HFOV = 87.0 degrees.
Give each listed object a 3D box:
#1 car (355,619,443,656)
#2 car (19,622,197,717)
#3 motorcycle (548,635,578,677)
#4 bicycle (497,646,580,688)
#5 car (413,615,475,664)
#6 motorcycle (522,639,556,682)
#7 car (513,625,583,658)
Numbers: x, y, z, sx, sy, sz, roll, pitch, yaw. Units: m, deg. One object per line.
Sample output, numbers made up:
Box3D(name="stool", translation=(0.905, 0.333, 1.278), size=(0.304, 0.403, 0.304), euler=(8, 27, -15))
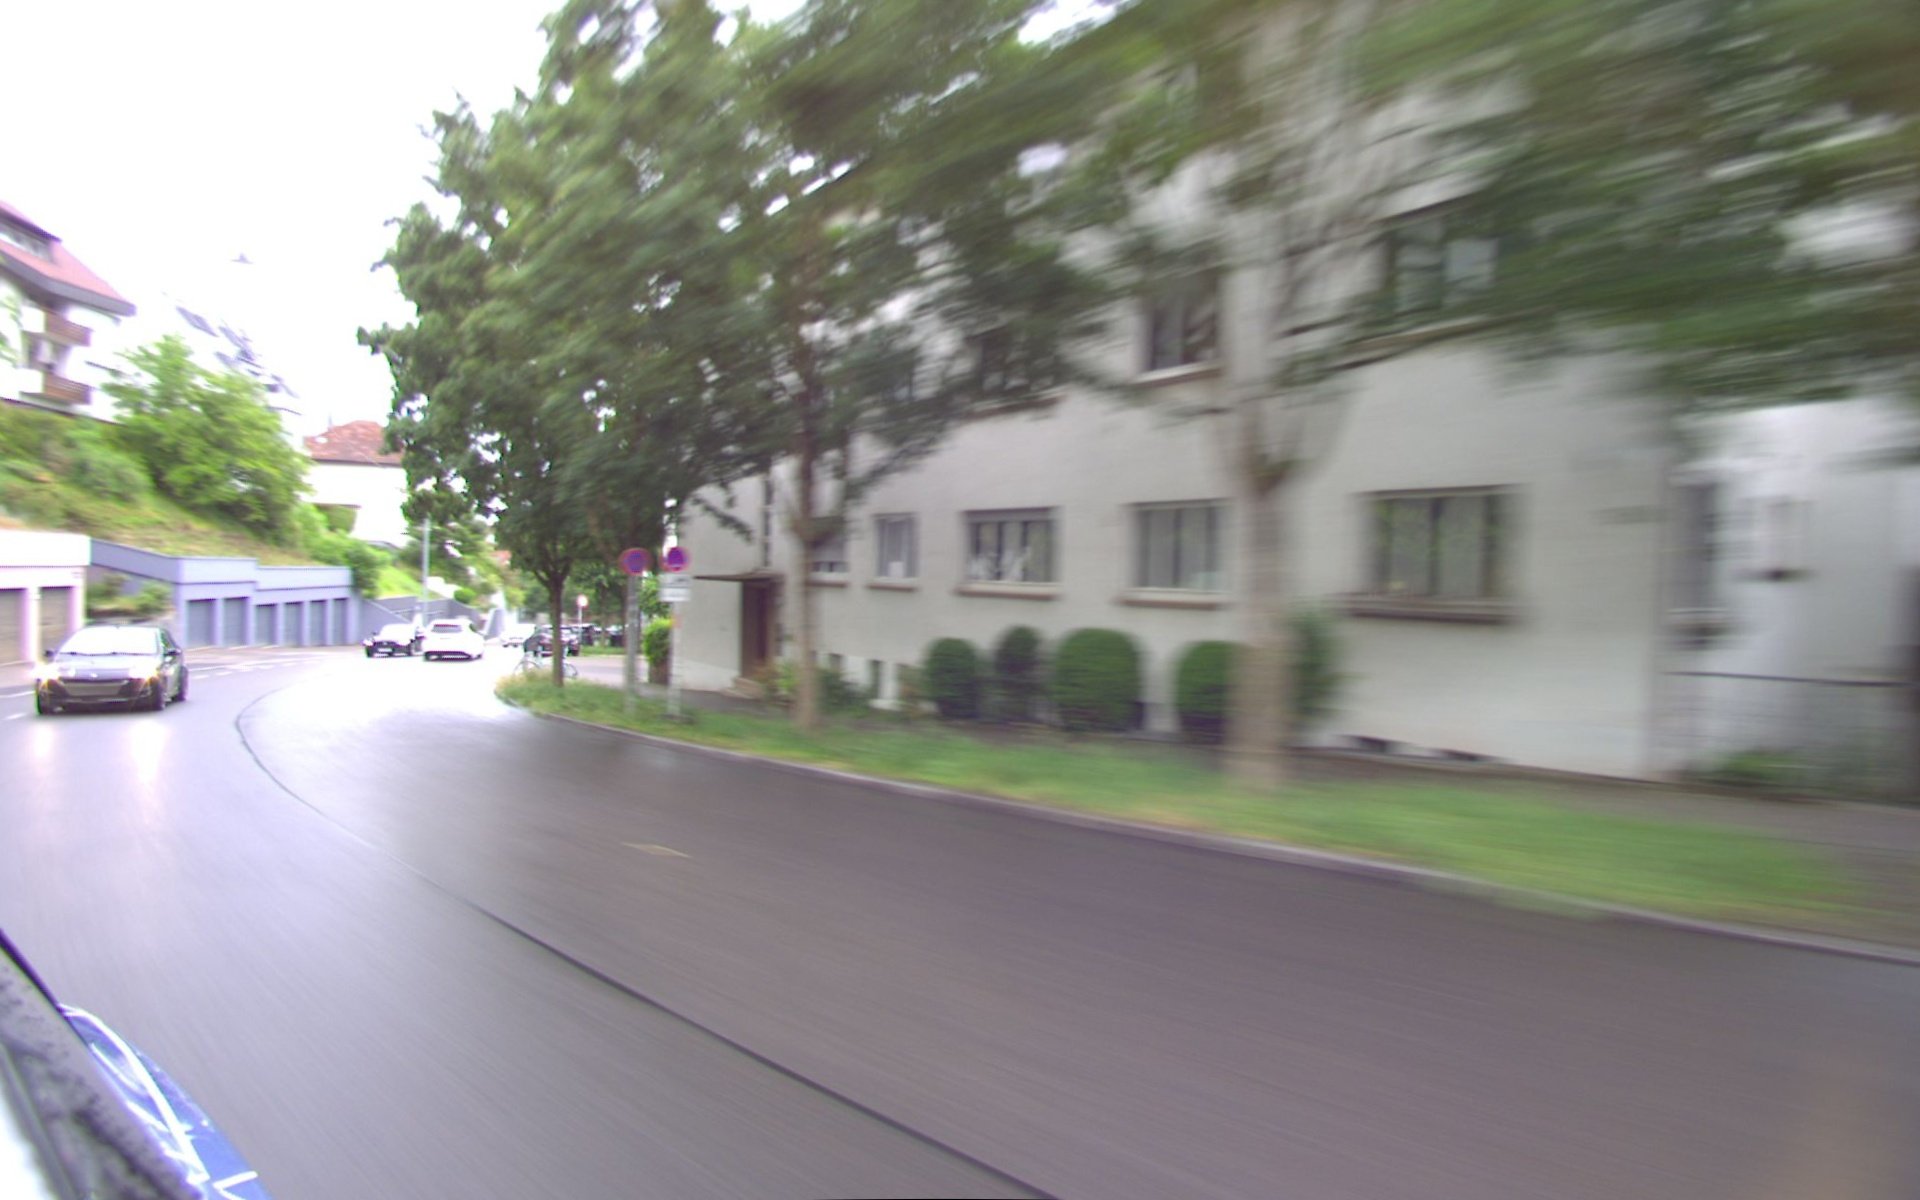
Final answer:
Box3D(name="car", translation=(-24.741, 1.642, 44.790), size=(1.969, 1.522, 4.217), euler=(-1, -1, -7))
Box3D(name="car", translation=(-14.938, 1.146, 17.972), size=(1.670, 1.475, 4.012), euler=(1, -2, -29))
Box3D(name="motorcycle", translation=(-11.867, 1.655, 30.280), size=(0.545, 1.237, 1.307), euler=(0, -2, -7))
Box3D(name="bicycle", translation=(-11.423, 1.792, 27.433), size=(1.936, 1.068, 0.756), euler=(1, -2, -36))
Box3D(name="car", translation=(-20.729, 1.593, 40.840), size=(1.956, 1.802, 4.710), euler=(3, -4, -25))
Box3D(name="motorcycle", translation=(-12.390, 1.775, 29.812), size=(0.550, 1.213, 1.401), euler=(0, -2, -7))
Box3D(name="car", translation=(-19.216, 1.899, 47.129), size=(1.968, 1.401, 4.206), euler=(1, -1, -38))
